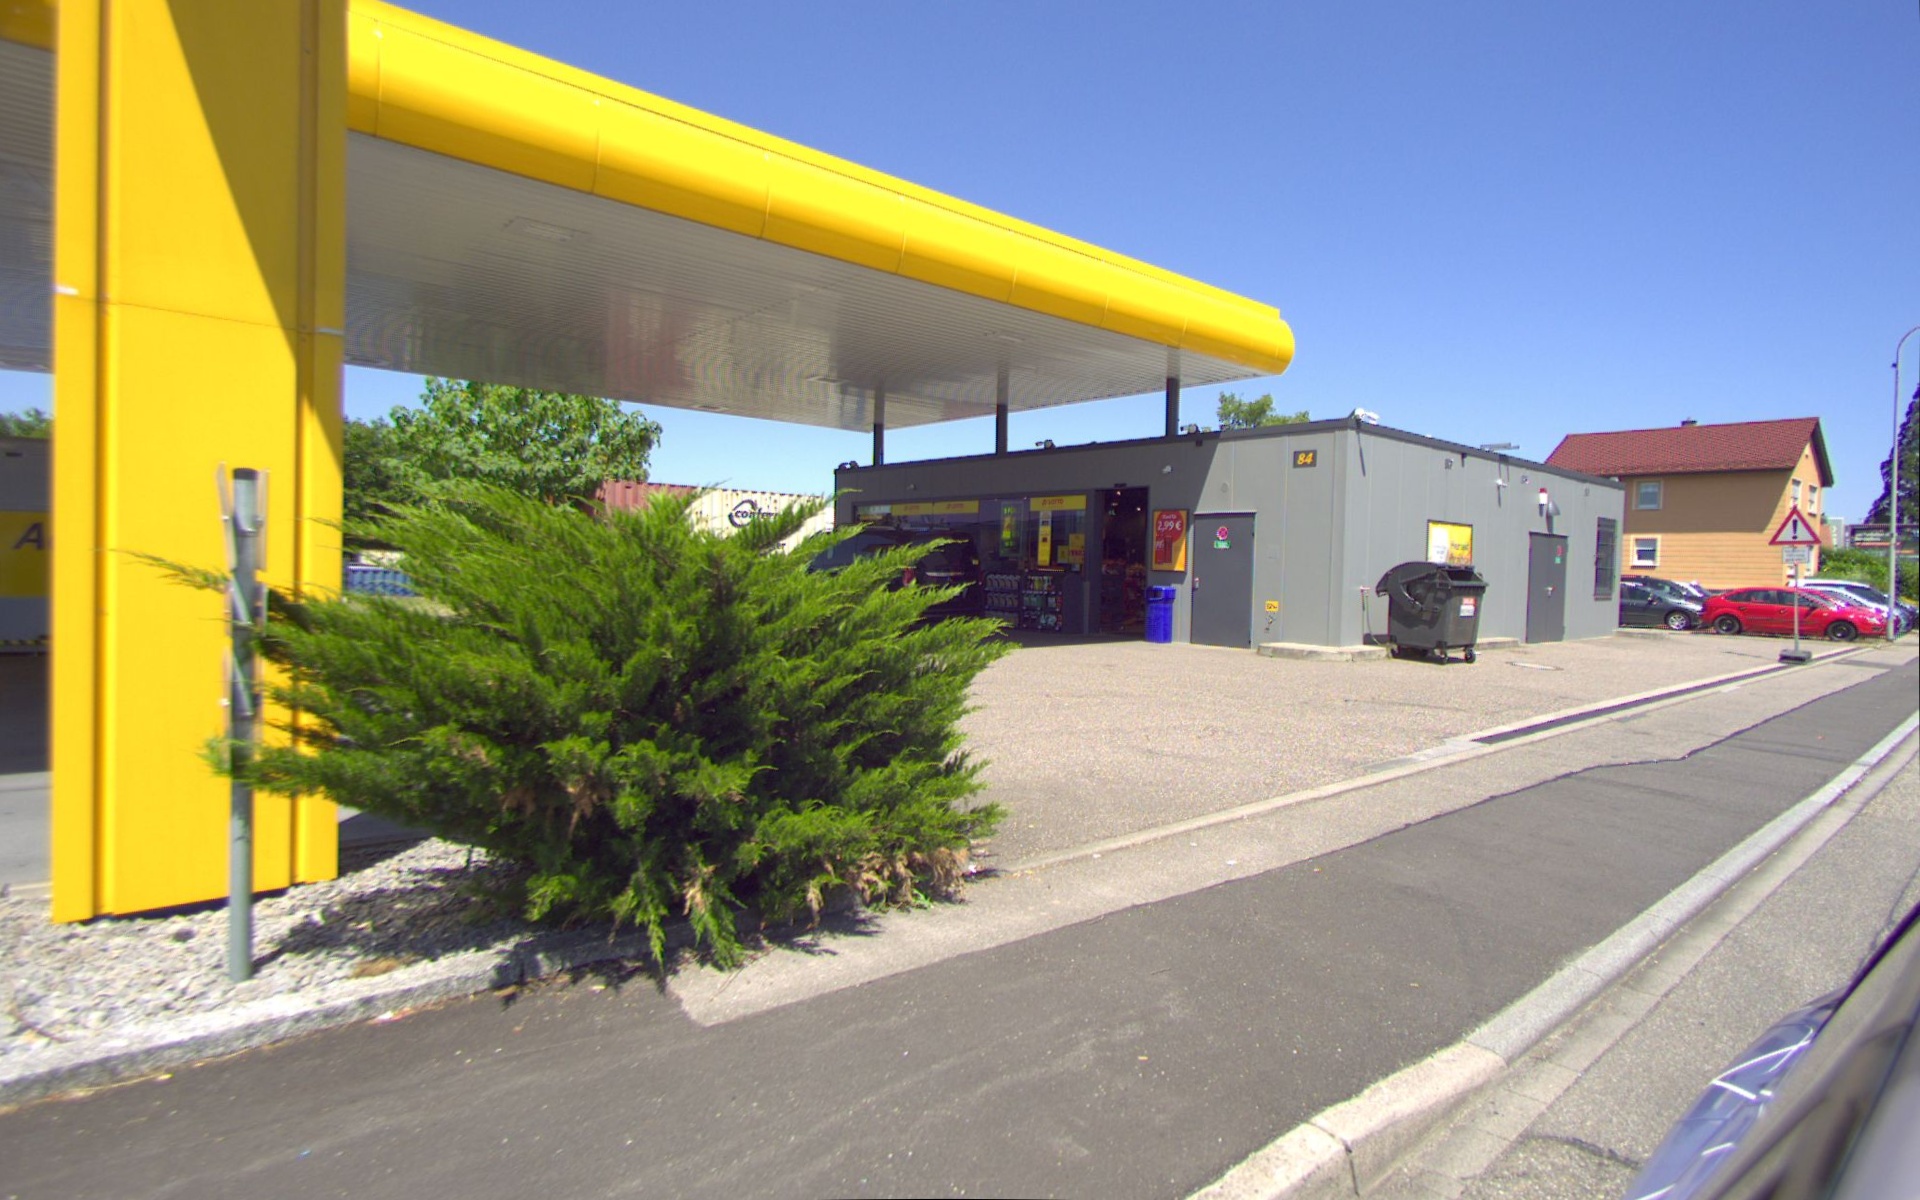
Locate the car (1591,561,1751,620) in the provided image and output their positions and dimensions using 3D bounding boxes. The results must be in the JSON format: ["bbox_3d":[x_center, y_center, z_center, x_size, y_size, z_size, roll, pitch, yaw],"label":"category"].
[{"bbox_3d":[25.098,-0.287,35.825,1.940,1.920,4.342,0,-1,-44],"label":"car"}]

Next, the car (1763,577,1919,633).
[{"bbox_3d":[28.380,0.114,32.629,3.687,1.586,1.722,4,3,45],"label":"car"}]

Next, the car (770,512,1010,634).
[{"bbox_3d":[-1.489,-0.522,19.274,1.965,2.000,5.061,0,2,-40],"label":"car"}]

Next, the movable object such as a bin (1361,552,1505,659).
[{"bbox_3d":[7.044,0.054,15.092,1.442,1.455,1.437,0,3,-41],"label":"movable object such as a bin"}]

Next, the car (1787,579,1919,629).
[{"bbox_3d":[31.599,0.111,35.443,1.801,1.528,3.800,0,2,-41],"label":"car"}]

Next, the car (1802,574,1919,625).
[{"bbox_3d":[33.318,-0.021,36.861,1.734,1.701,3.879,0,3,-44],"label":"car"}]

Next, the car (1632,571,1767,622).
[{"bbox_3d":[28.553,-0.092,39.151,1.659,1.862,3.900,0,-1,-40],"label":"car"}]

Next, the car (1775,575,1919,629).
[{"bbox_3d":[29.979,0.033,34.117,1.614,1.586,3.689,0,2,-44],"label":"car"}]

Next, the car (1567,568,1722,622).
[{"bbox_3d":[23.158,-0.121,34.360,1.752,1.689,4.044,0,-1,-42],"label":"car"}]

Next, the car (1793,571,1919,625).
[{"bbox_3d":[34.517,-0.103,38.612,4.134,1.962,1.780,2,1,43],"label":"car"}]

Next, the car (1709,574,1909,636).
[{"bbox_3d":[24.769,0.100,29.628,1.925,1.553,4.231,0,2,-42],"label":"car"}]

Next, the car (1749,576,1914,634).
[{"bbox_3d":[26.713,0.111,31.092,1.681,1.586,3.687,0,3,-45],"label":"car"}]
